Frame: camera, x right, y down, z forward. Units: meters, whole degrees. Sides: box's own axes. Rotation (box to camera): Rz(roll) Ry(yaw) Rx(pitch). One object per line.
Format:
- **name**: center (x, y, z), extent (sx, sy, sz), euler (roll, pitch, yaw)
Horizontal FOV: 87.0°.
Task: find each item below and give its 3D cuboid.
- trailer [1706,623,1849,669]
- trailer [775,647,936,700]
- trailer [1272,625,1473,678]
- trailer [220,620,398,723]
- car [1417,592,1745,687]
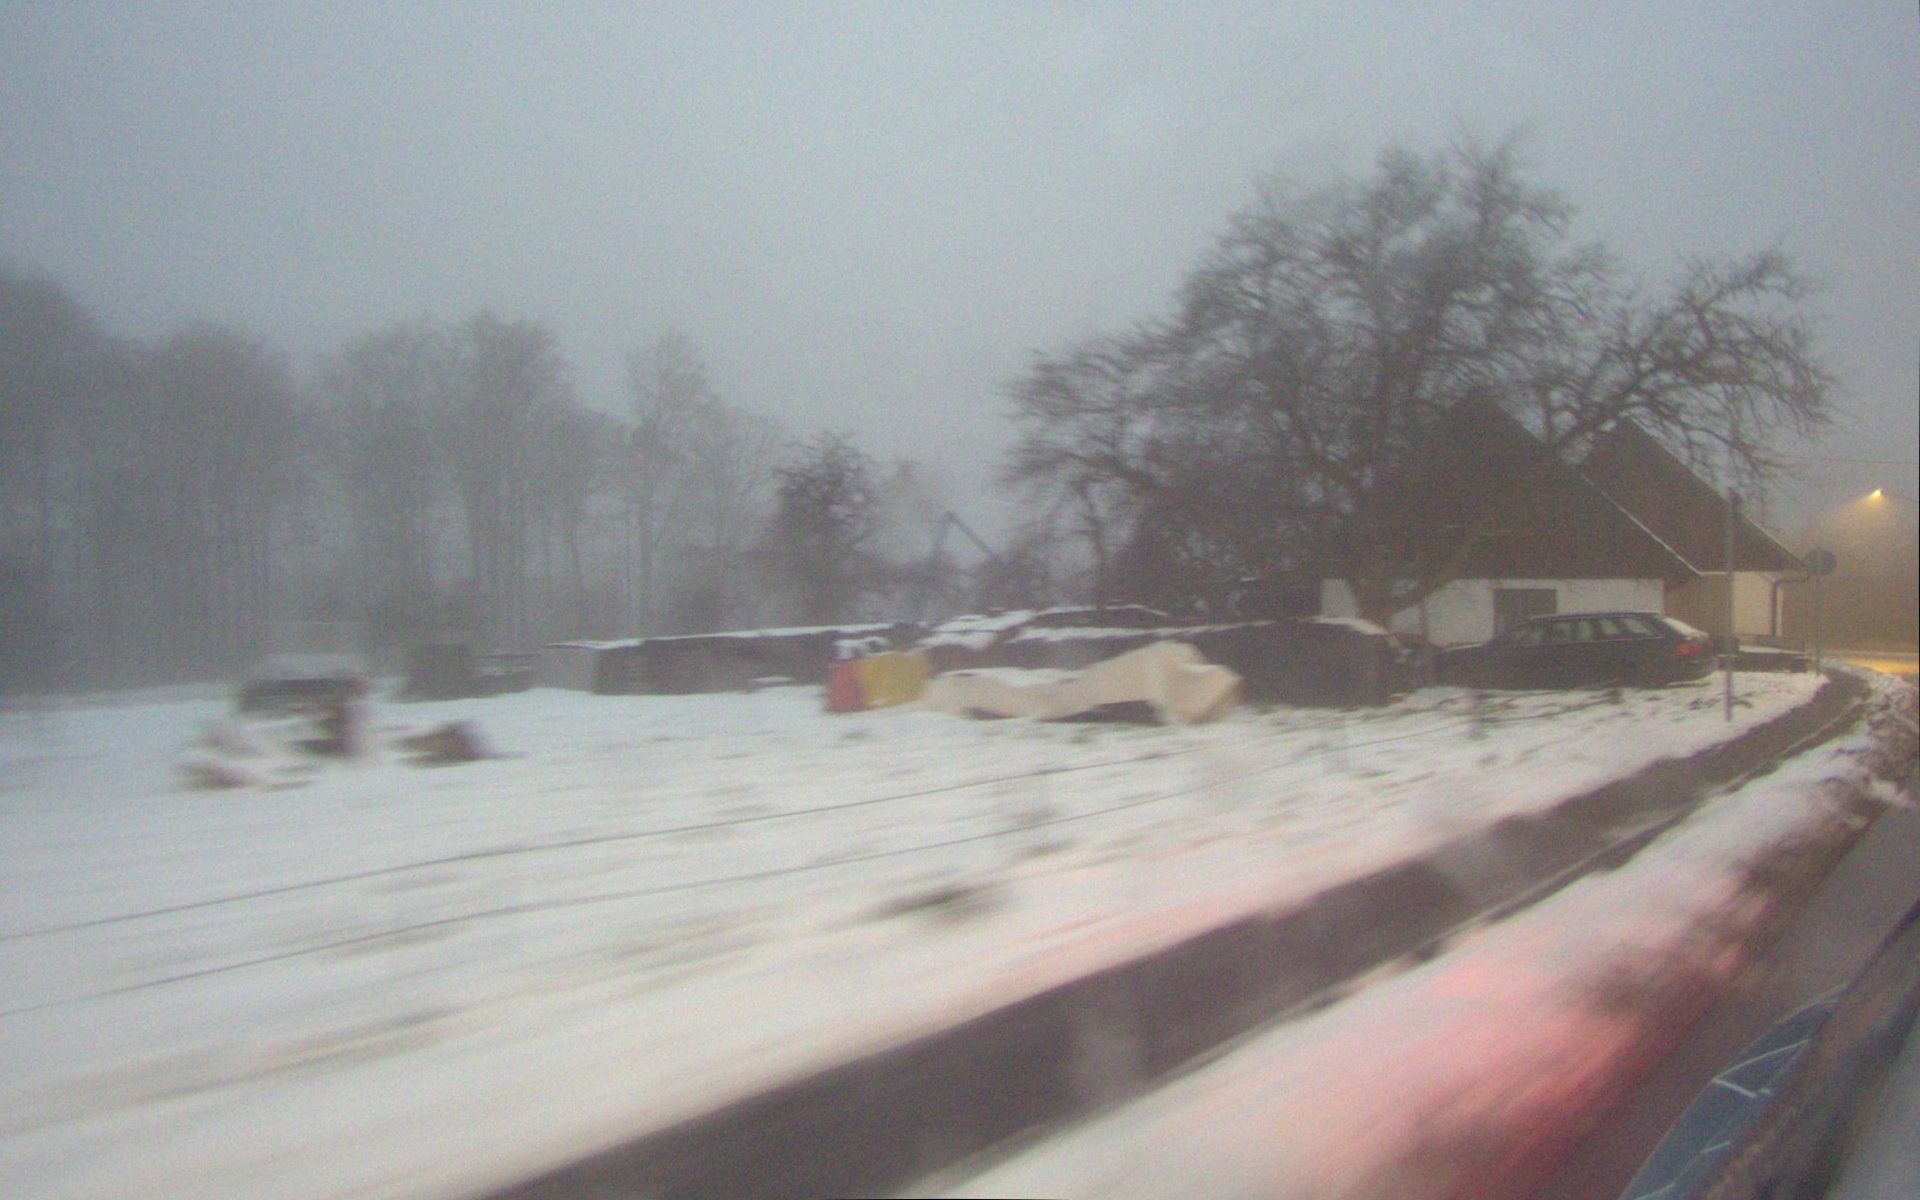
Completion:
- **trailer**: center (21.377, 1.162, 26.640), extent (1.529, 0.957, 3.977), euler (2, 0, 17)
- **trailer**: center (-2.440, 1.707, 24.204), extent (1.840, 0.957, 3.611), euler (2, 0, 38)
- **trailer**: center (9.605, 1.171, 23.654), extent (3.864, 1.106, 2.212), euler (-2, -2, 41)
- **trailer**: center (-14.151, 1.458, 21.899), extent (4.739, 1.968, 2.189), euler (-2, -3, 44)
- **car**: center (10.744, 0.753, 17.777), extent (2.000, 1.400, 4.454), euler (1, -5, -41)
